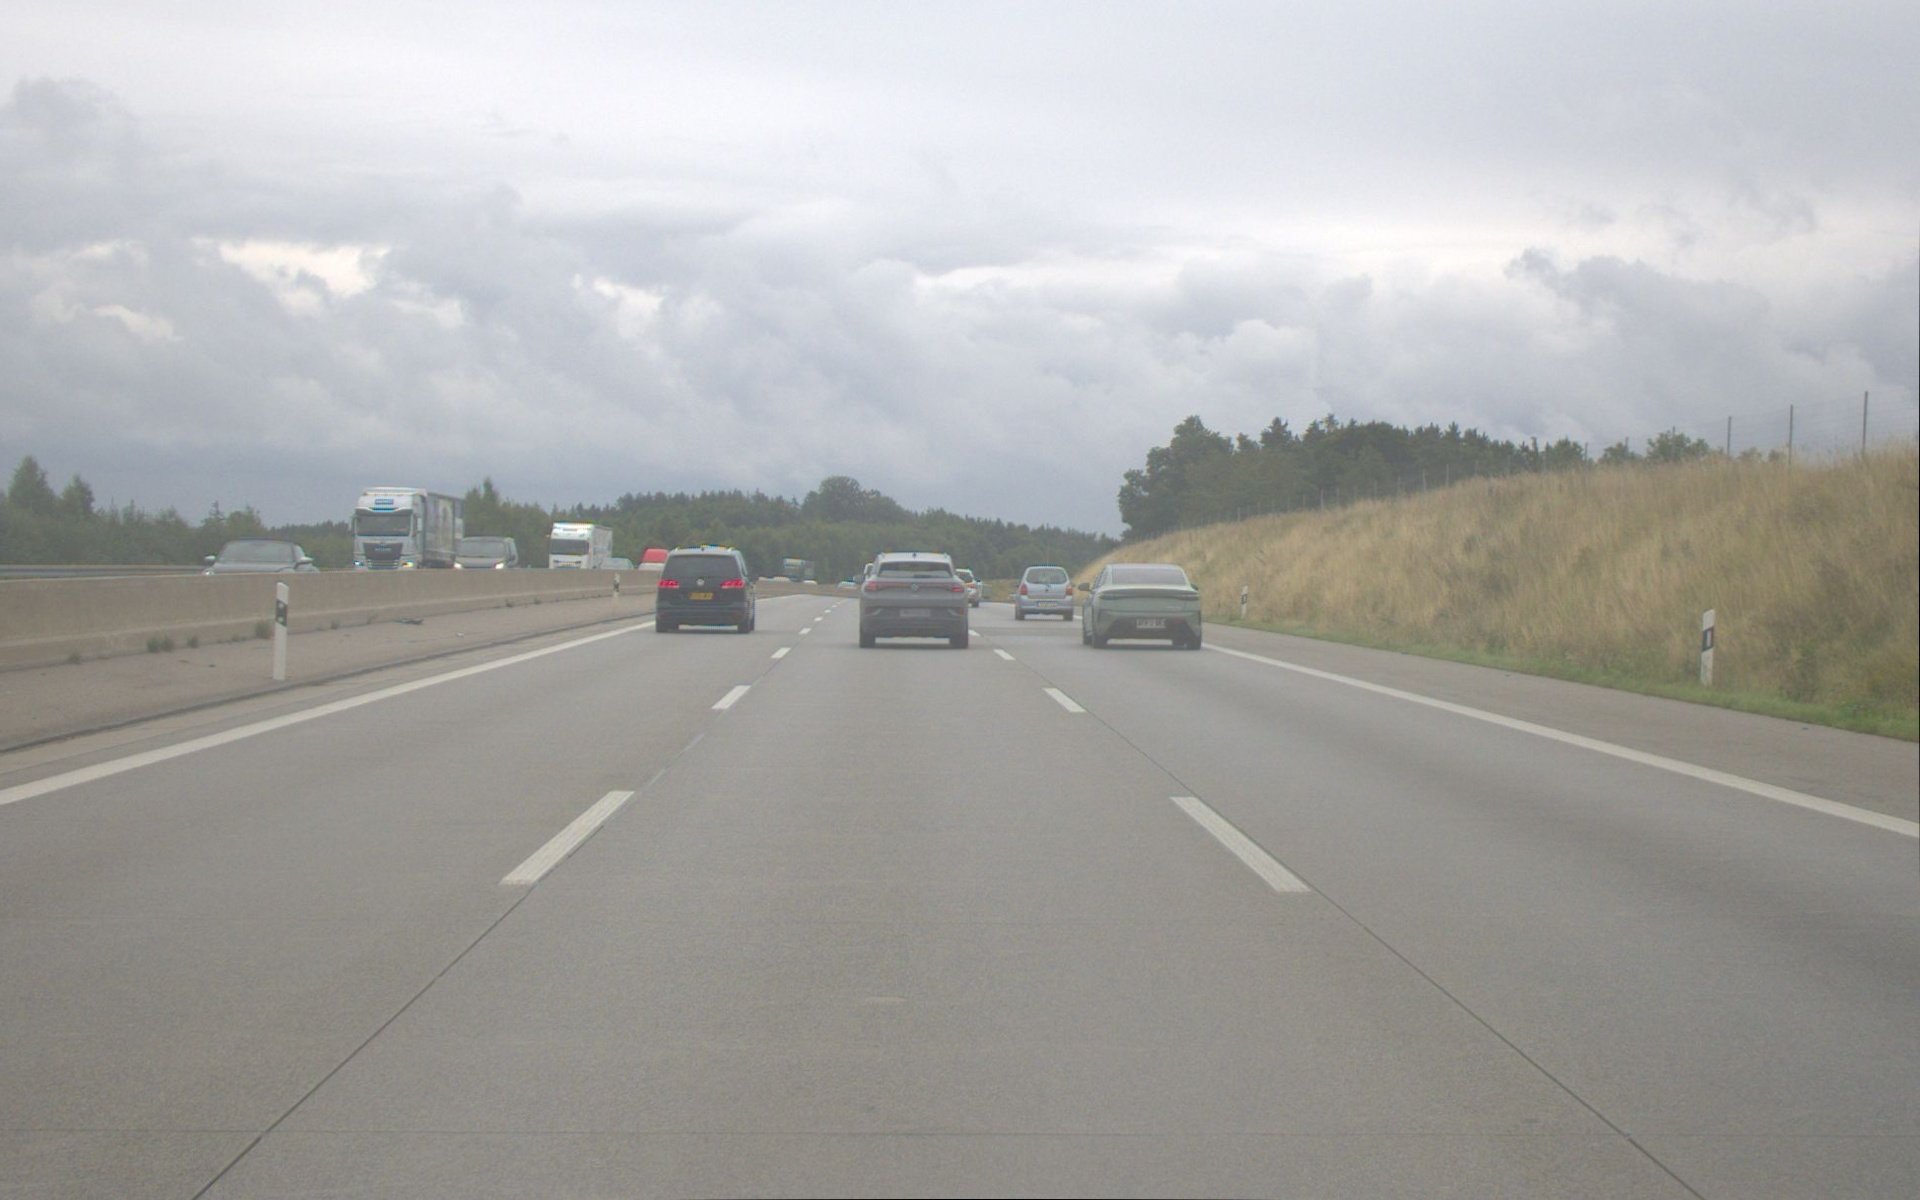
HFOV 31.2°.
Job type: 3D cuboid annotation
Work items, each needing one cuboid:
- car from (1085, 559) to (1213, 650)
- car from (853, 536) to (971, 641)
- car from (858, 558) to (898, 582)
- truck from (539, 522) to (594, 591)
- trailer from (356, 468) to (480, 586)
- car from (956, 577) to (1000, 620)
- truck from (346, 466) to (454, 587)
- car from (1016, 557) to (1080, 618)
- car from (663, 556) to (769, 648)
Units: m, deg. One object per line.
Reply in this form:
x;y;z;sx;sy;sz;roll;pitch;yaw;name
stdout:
3.241;0.046;59.817;2.014;1.441;4.745;1;1;1;car
-0.788;-0.243;59.252;1.898;1.684;5.266;1;1;0;car
-4.313;-1.600;181.273;1.798;1.217;4.000;1;1;3;car
-25.106;-2.790;219.626;2.883;4.276;7.137;1;1;-2;truck
-23.020;-3.128;146.828;3.598;4.783;12.909;1;1;-2;trailer
0.688;-0.060;130.373;1.485;1.465;3.505;3;1;-1;car
-22.873;-3.009;140.740;3.587;4.802;5.869;1;1;-2;truck
2.350;-0.352;92.367;1.485;1.465;3.505;3;1;-1;car
-4.871;0.010;69.119;1.785;1.741;3.915;1;1;1;car
